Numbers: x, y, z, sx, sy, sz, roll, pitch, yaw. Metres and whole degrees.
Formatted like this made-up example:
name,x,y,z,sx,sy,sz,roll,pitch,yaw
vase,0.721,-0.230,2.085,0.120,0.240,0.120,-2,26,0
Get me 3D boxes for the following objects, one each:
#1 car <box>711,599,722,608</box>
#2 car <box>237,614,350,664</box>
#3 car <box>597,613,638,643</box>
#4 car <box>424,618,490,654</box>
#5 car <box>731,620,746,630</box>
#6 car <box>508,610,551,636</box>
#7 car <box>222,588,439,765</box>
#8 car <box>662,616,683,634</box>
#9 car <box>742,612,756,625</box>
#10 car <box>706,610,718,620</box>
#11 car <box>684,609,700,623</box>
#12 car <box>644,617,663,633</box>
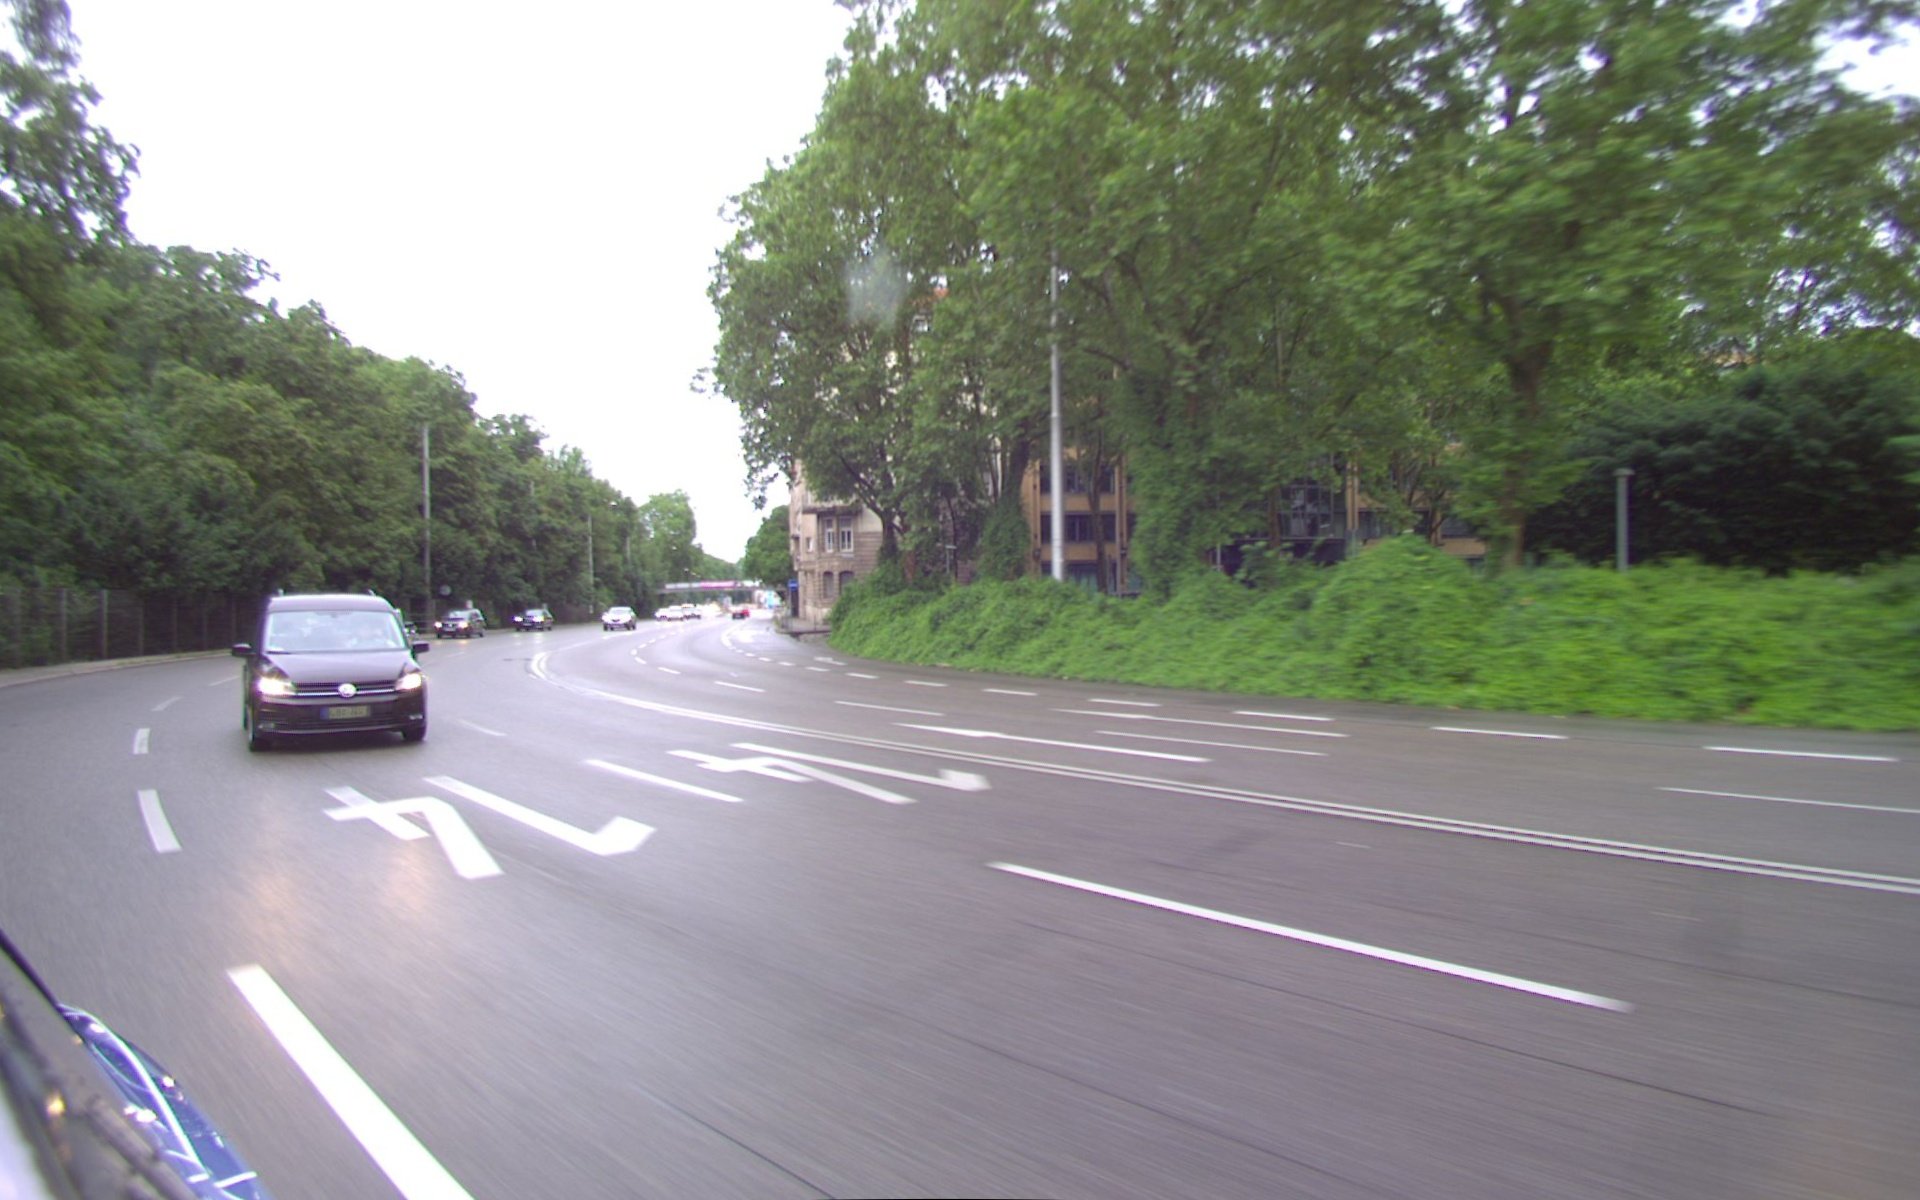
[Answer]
name,x,y,z,sx,sy,sz,roll,pitch,yaw
car,-51.079,0.714,212.543,1.797,1.624,4.006,-3,1,-7
car,-21.586,1.225,32.949,1.704,1.450,4.010,-2,0,-12
car,-23.927,1.934,70.791,1.677,1.811,3.806,-3,1,-4
car,-26.218,1.858,52.896,1.775,1.608,4.006,-3,1,-7
car,-29.555,3.309,135.084,1.680,1.349,3.921,-1,-1,-7
car,-29.664,1.560,69.774,1.774,1.608,4.008,-3,1,-9
car,-7.855,0.810,12.450,1.814,1.804,4.008,0,-1,-39
car,-33.865,2.878,119.252,1.968,1.918,4.009,-3,1,-10
car,-34.666,3.011,166.113,1.826,2.028,3.949,-3,1,-7
car,-47.160,2.869,192.647,1.849,1.785,4.009,-3,1,-11
car,-37.858,2.279,143.019,1.849,1.785,4.009,-3,1,-10
car,-39.484,3.223,130.474,1.849,1.785,4.009,-3,1,-11
